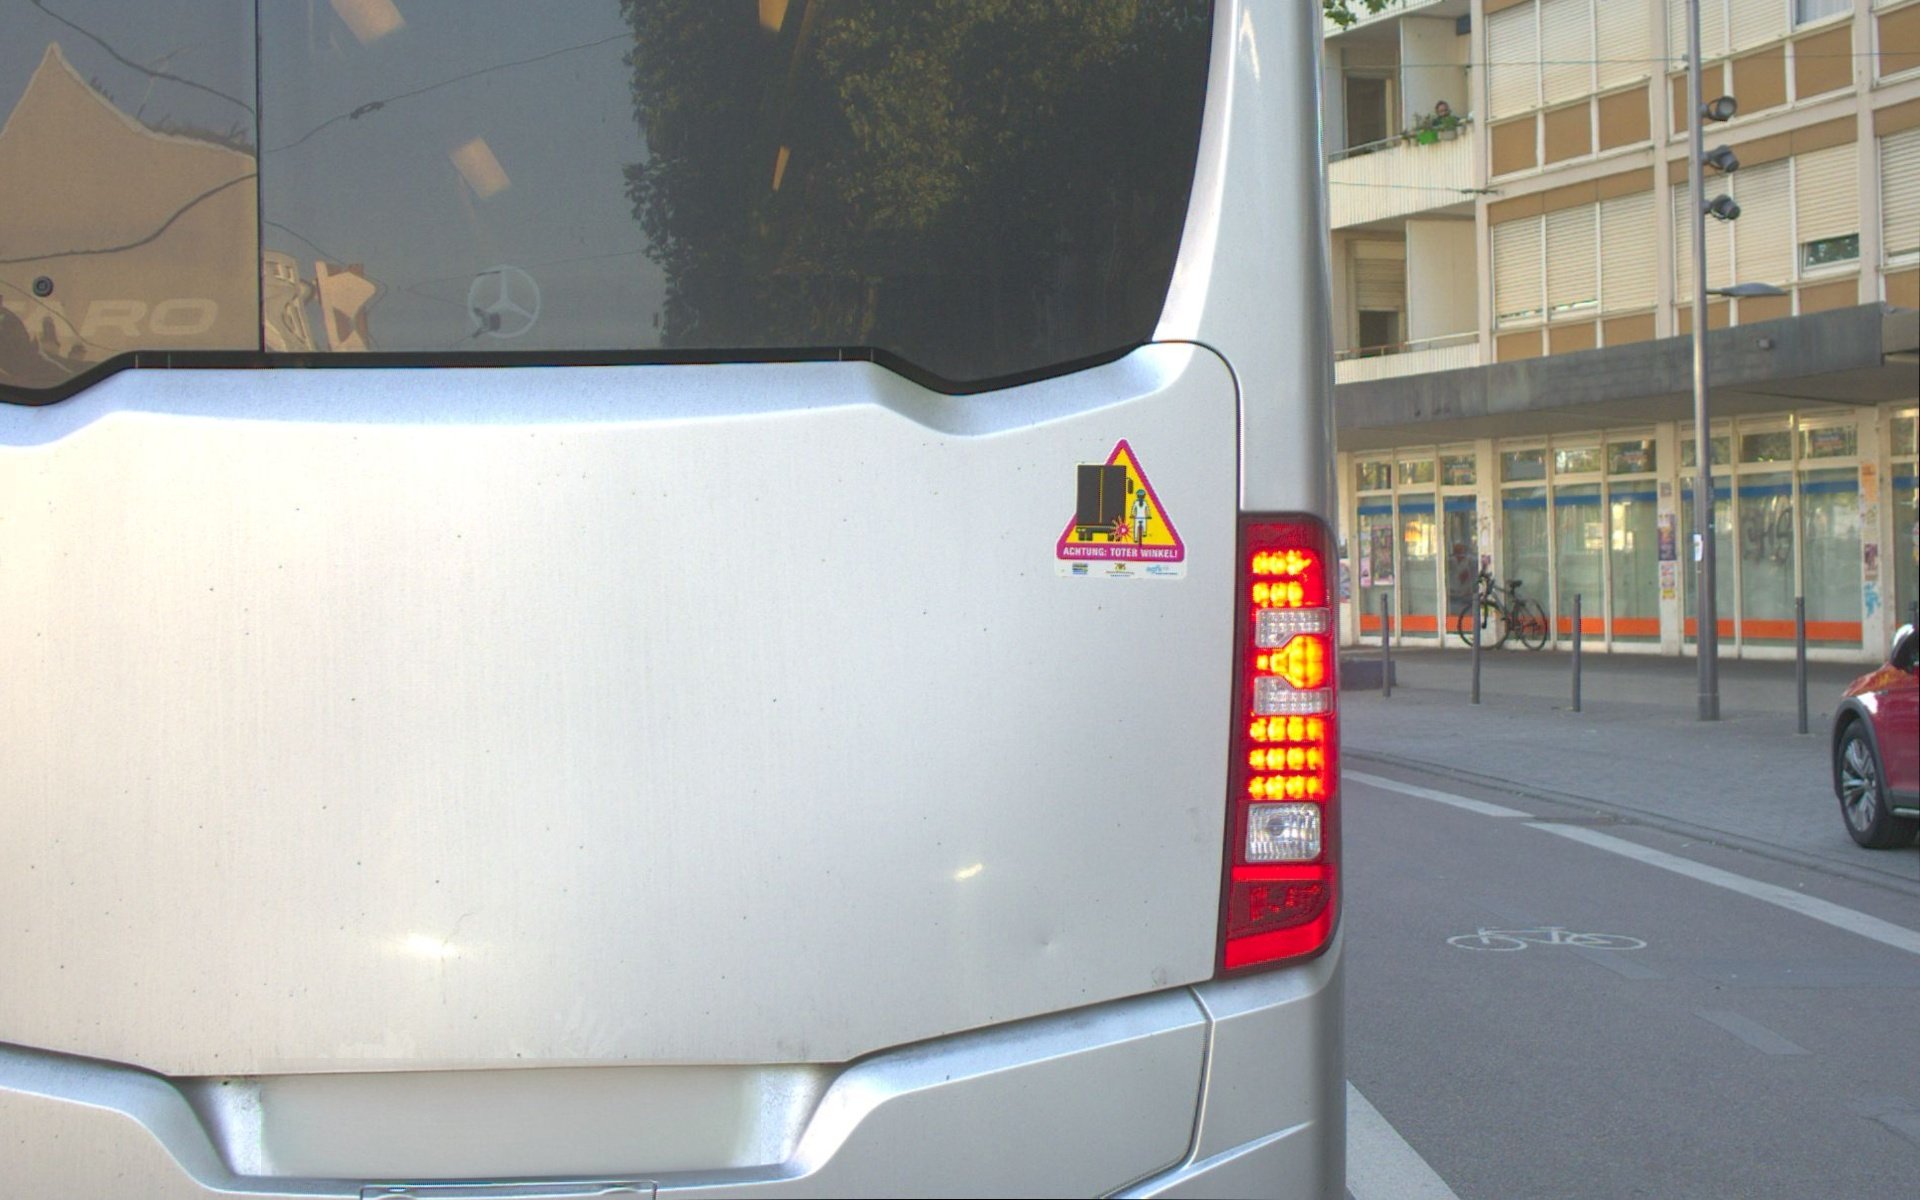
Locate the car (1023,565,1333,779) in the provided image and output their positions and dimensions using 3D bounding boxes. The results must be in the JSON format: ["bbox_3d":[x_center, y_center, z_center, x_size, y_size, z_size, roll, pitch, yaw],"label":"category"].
[{"bbox_3d":[1.544,0.473,25.719,1.803,1.469,4.072,0,1,-4],"label":"car"}]

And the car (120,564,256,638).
[{"bbox_3d":[-17.461,0.001,77.662,1.663,1.511,3.412,-5,4,-37],"label":"car"}]

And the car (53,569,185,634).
[{"bbox_3d":[-19.822,0.021,80.979,1.663,1.390,3.411,-6,4,-39],"label":"car"}]

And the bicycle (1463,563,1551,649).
[{"bbox_3d":[7.223,0.069,45.449,0.437,1.089,1.462,-4,2,-20],"label":"bicycle"}]

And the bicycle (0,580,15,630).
[{"bbox_3d":[-23.720,0.114,84.939,0.507,1.207,2.093,-1,1,-21],"label":"bicycle"}]

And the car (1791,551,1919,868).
[{"bbox_3d":[5.501,0.502,15.981,1.778,1.491,4.568,-3,1,-4],"label":"car"}]

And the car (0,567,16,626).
[{"bbox_3d":[-25.693,-0.039,88.037,1.663,1.463,3.411,-5,4,-38],"label":"car"}]

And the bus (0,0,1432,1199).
[{"bbox_3d":[-0.893,-0.133,9.883,2.657,3.088,10.217,-1,0,-2],"label":"bus"}]
